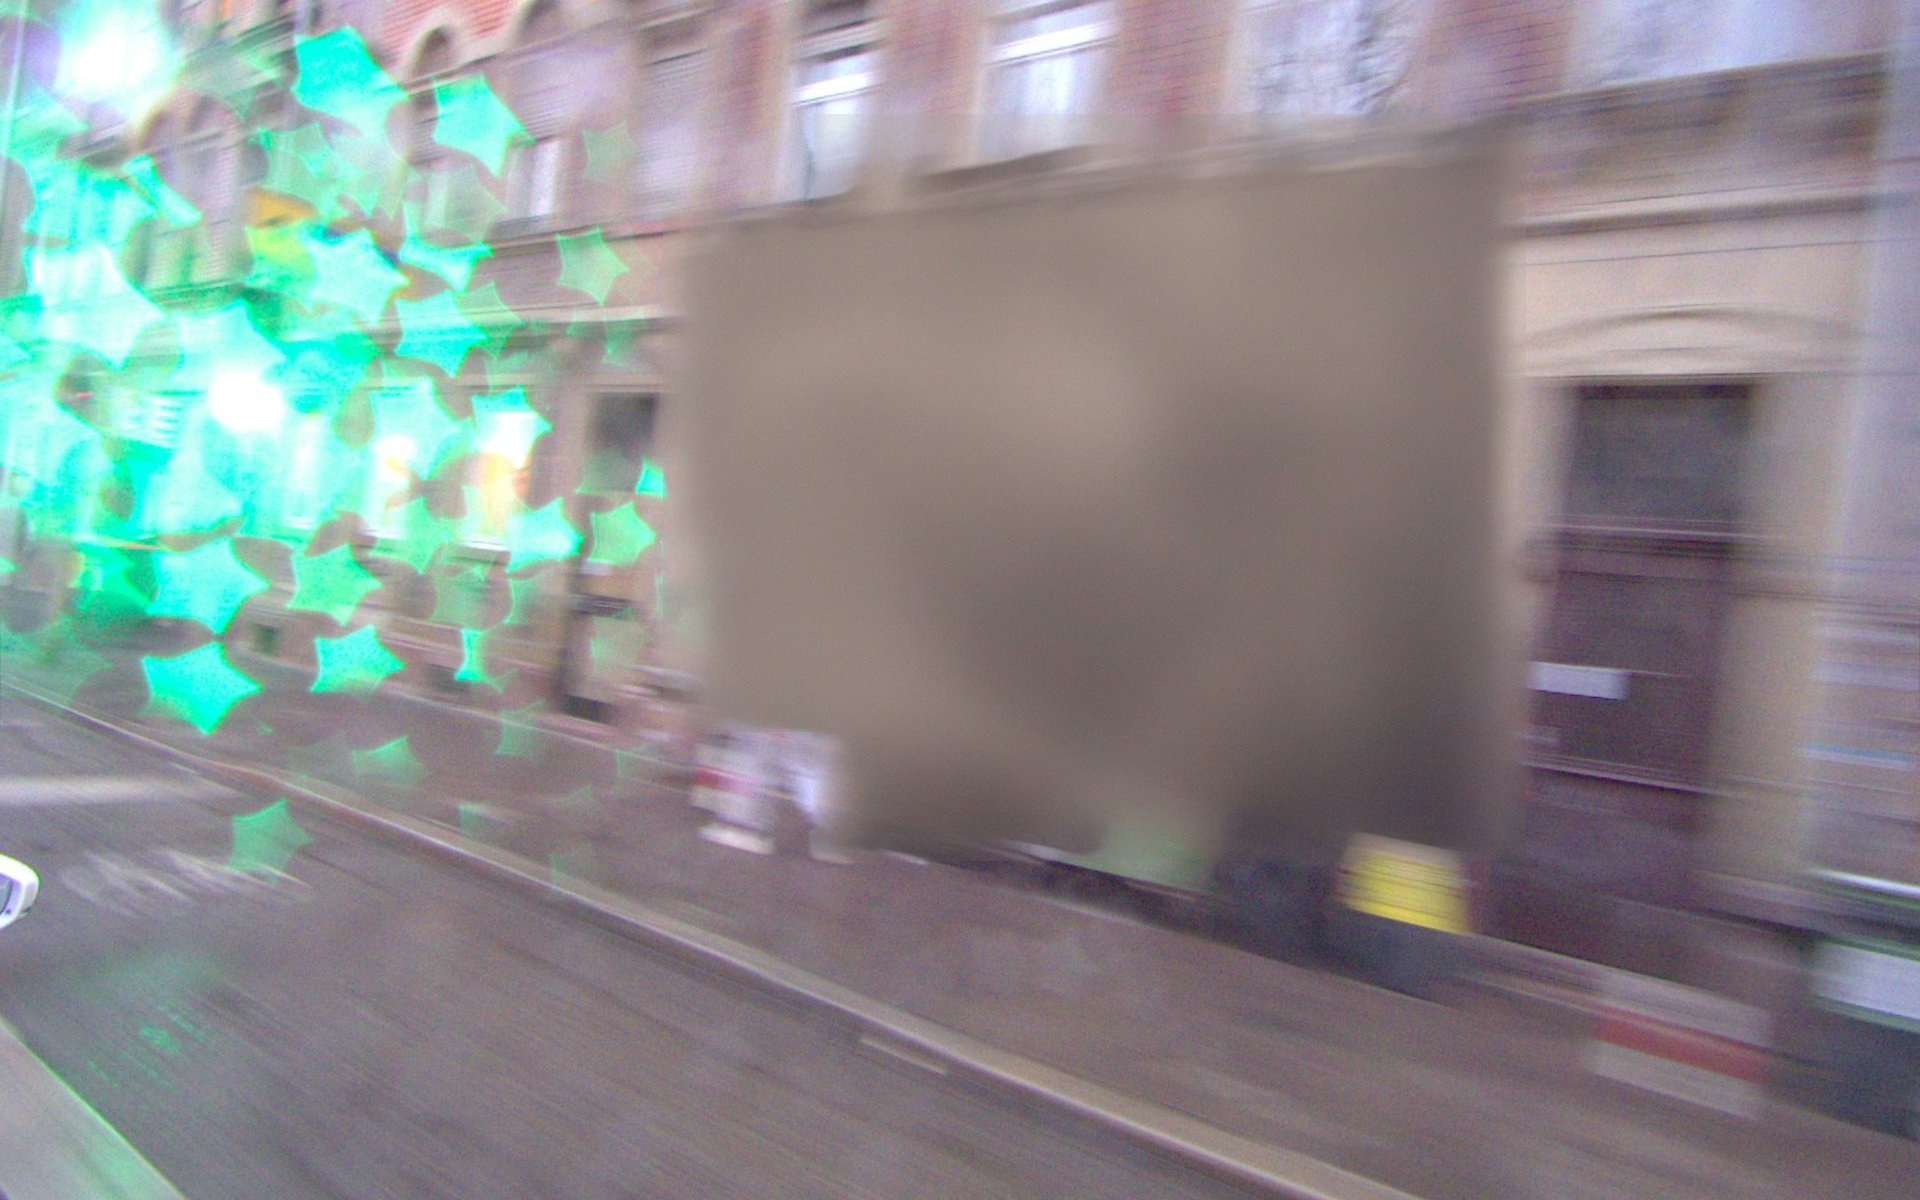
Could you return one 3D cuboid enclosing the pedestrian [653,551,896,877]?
[{"bbox_3d":[-1.106,0.641,6.021,0.939,1.720,0.834,6,-2,40],"label":"pedestrian"}]

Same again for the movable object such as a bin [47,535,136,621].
[{"bbox_3d":[-12.025,-0.304,13.929,0.731,1.067,0.641,6,-2,31],"label":"movable object such as a bin"}]

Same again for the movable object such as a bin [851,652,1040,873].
[{"bbox_3d":[-0.083,1.015,6.545,0.805,1.225,0.766,7,0,31],"label":"movable object such as a bin"}]

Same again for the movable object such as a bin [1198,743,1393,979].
[{"bbox_3d":[1.794,1.342,5.367,0.763,1.051,0.592,8,0,-44],"label":"movable object such as a bin"}]

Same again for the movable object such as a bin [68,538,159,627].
[{"bbox_3d":[-11.383,-0.236,13.536,0.731,1.067,0.641,6,-2,31],"label":"movable object such as a bin"}]

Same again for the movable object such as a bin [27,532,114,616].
[{"bbox_3d":[-12.659,-0.371,14.326,0.731,1.067,0.641,6,-2,31],"label":"movable object such as a bin"}]

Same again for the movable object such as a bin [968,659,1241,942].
[{"bbox_3d":[0.863,1.084,5.863,1.239,1.304,0.890,7,0,24],"label":"movable object such as a bin"}]

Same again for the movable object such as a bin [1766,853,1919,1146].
[{"bbox_3d":[3.703,1.592,4.084,0.483,0.940,0.612,7,0,30],"label":"movable object such as a bin"}]

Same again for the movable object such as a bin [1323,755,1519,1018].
[{"bbox_3d":[2.293,1.368,4.999,0.609,1.095,0.592,7,0,-44],"label":"movable object such as a bin"}]
